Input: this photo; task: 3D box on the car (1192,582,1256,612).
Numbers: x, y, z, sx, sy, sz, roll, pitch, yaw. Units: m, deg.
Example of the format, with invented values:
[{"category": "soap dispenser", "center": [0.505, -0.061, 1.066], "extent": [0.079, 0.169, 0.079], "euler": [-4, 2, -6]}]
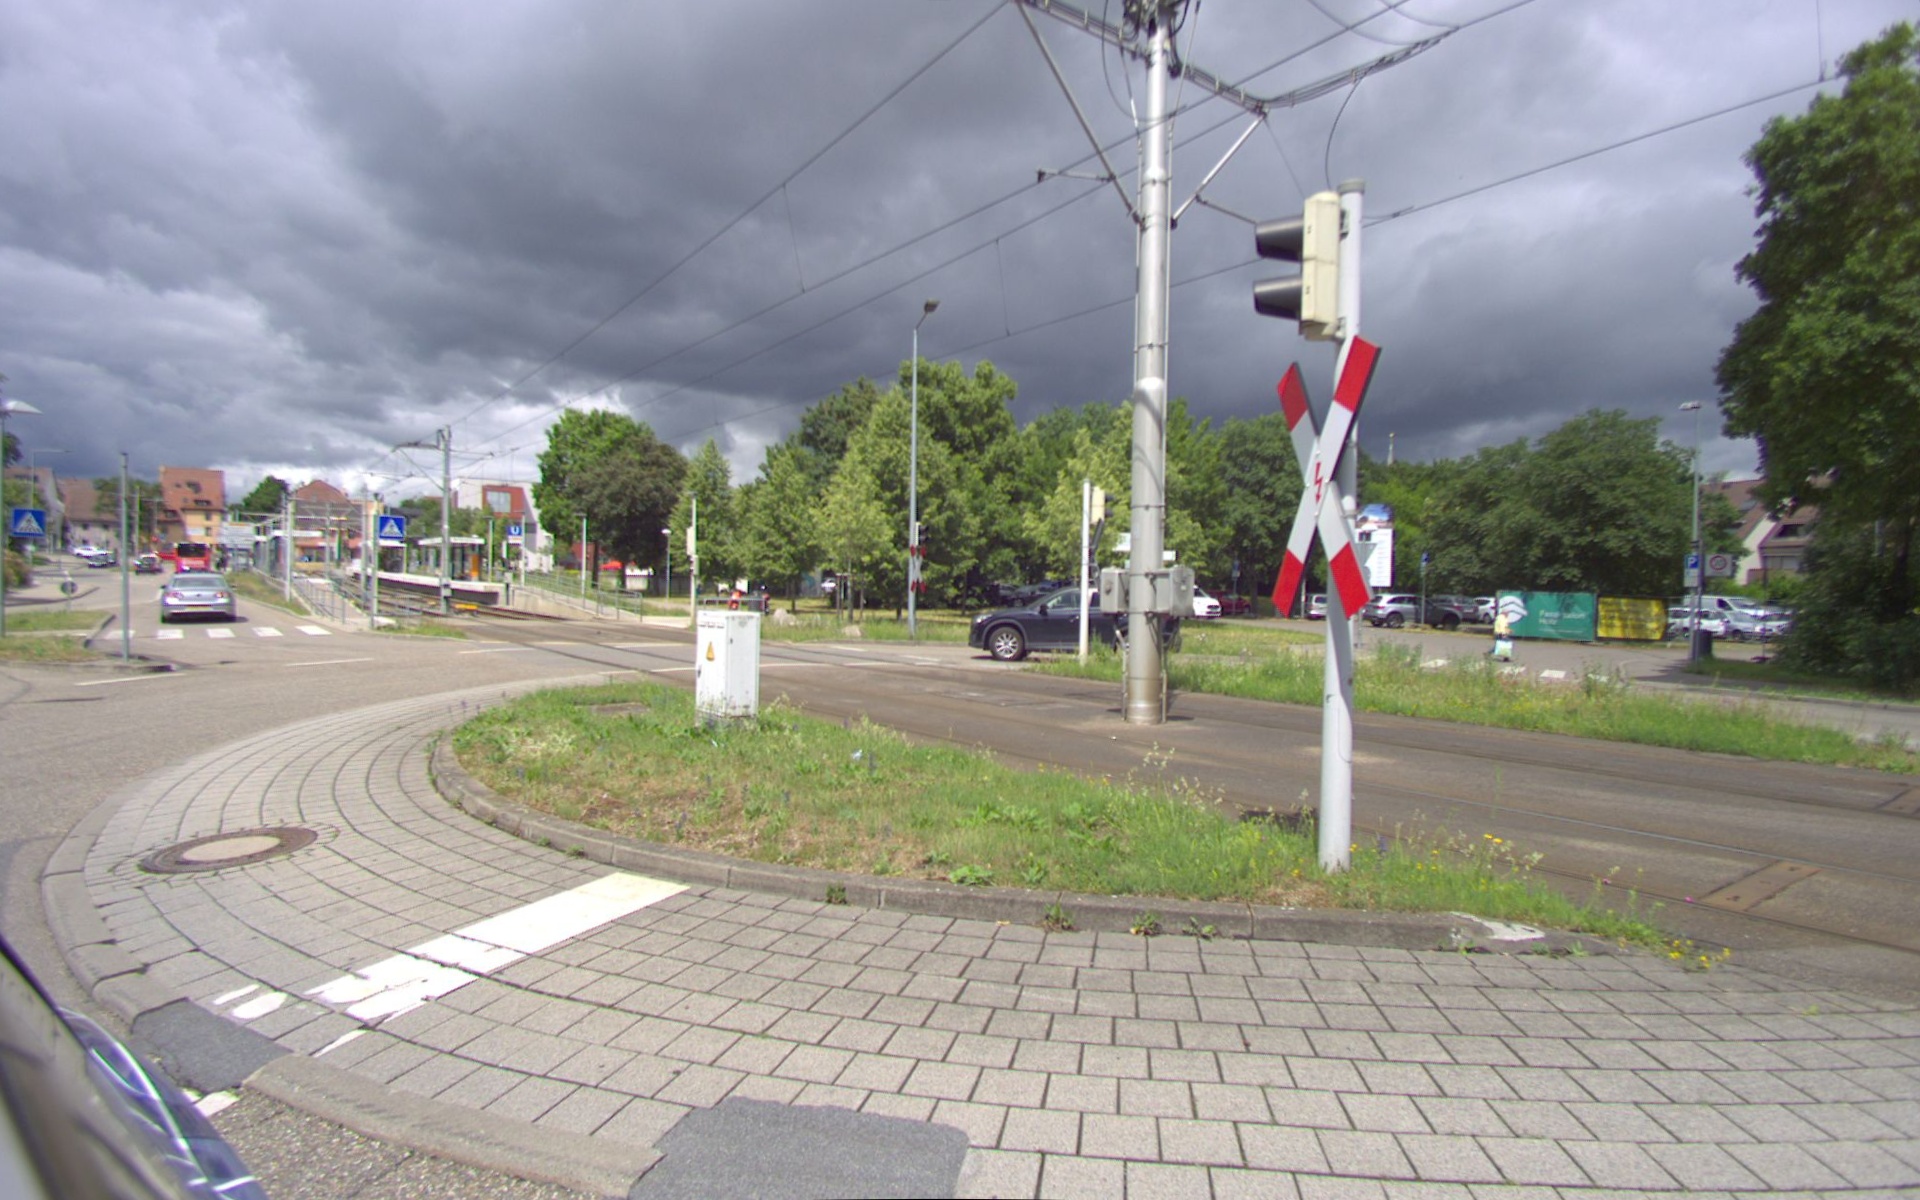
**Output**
[{"category": "car", "center": [15.446, -0.197, 59.205], "extent": [3.558, 1.602, 1.633], "euler": [2, 0, -34]}]

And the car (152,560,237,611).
[{"category": "car", "center": [-23.261, -0.497, 30.876], "extent": [1.909, 1.392, 4.673], "euler": [-1, 3, -36]}]

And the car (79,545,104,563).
[{"category": "car", "center": [-100.099, -5.274, 116.688], "extent": [1.968, 1.874, 4.009], "euler": [1, 1, -38]}]

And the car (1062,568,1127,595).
[{"category": "car", "center": [8.587, -1.225, 64.926], "extent": [3.903, 1.652, 1.572], "euler": [3, 3, 41]}]

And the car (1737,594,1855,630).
[{"category": "car", "center": [37.955, 0.503, 46.090], "extent": [1.731, 1.430, 4.006], "euler": [0, 2, -6]}]

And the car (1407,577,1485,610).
[{"category": "car", "center": [27.287, -0.347, 56.975], "extent": [1.968, 1.767, 4.008], "euler": [1, 0, -9]}]

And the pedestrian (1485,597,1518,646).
[{"category": "pedestrian", "center": [16.701, 0.653, 31.249], "extent": [0.745, 1.468, 0.891], "euler": [1, 2, 20]}]

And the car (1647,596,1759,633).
[{"category": "car", "center": [33.193, 0.624, 45.360], "extent": [1.731, 1.430, 4.006], "euler": [0, 2, -6]}]

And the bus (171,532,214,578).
[{"category": "bus", "center": [-70.647, -4.063, 93.289], "extent": [2.877, 3.915, 10.404], "euler": [1, 1, -36]}]

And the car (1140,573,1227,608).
[{"category": "car", "center": [11.608, -0.540, 52.778], "extent": [1.714, 1.702, 4.362], "euler": [-1, 3, -35]}]

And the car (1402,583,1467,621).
[{"category": "car", "center": [23.590, 0.055, 50.433], "extent": [1.978, 1.601, 3.574], "euler": [2, 3, 10]}]

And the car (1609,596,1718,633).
[{"category": "car", "center": [31.127, 0.615, 44.911], "extent": [1.731, 1.430, 4.006], "euler": [0, 2, -6]}]

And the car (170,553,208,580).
[{"category": "car", "center": [-46.293, -2.023, 60.795], "extent": [1.711, 1.521, 3.523], "euler": [-1, 3, -36]}]

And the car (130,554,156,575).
[{"category": "car", "center": [-77.889, -3.356, 96.471], "extent": [1.821, 1.942, 3.786], "euler": [1, 1, -37]}]

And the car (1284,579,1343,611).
[{"category": "car", "center": [19.508, -0.293, 56.017], "extent": [1.973, 1.696, 3.997], "euler": [1, 1, 3]}]

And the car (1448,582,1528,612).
[{"category": "car", "center": [29.969, -0.184, 57.594], "extent": [1.968, 1.603, 4.008], "euler": [1, 0, -9]}]

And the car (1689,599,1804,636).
[{"category": "car", "center": [35.239, 0.762, 45.482], "extent": [1.731, 1.430, 4.006], "euler": [0, 2, -6]}]

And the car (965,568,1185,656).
[{"category": "car", "center": [2.435, 0.212, 21.176], "extent": [4.289, 1.597, 1.849], "euler": [2, 0, 18]}]

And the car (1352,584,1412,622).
[{"category": "car", "center": [20.959, 0.111, 50.408], "extent": [1.978, 1.601, 3.574], "euler": [2, 3, 10]}]
